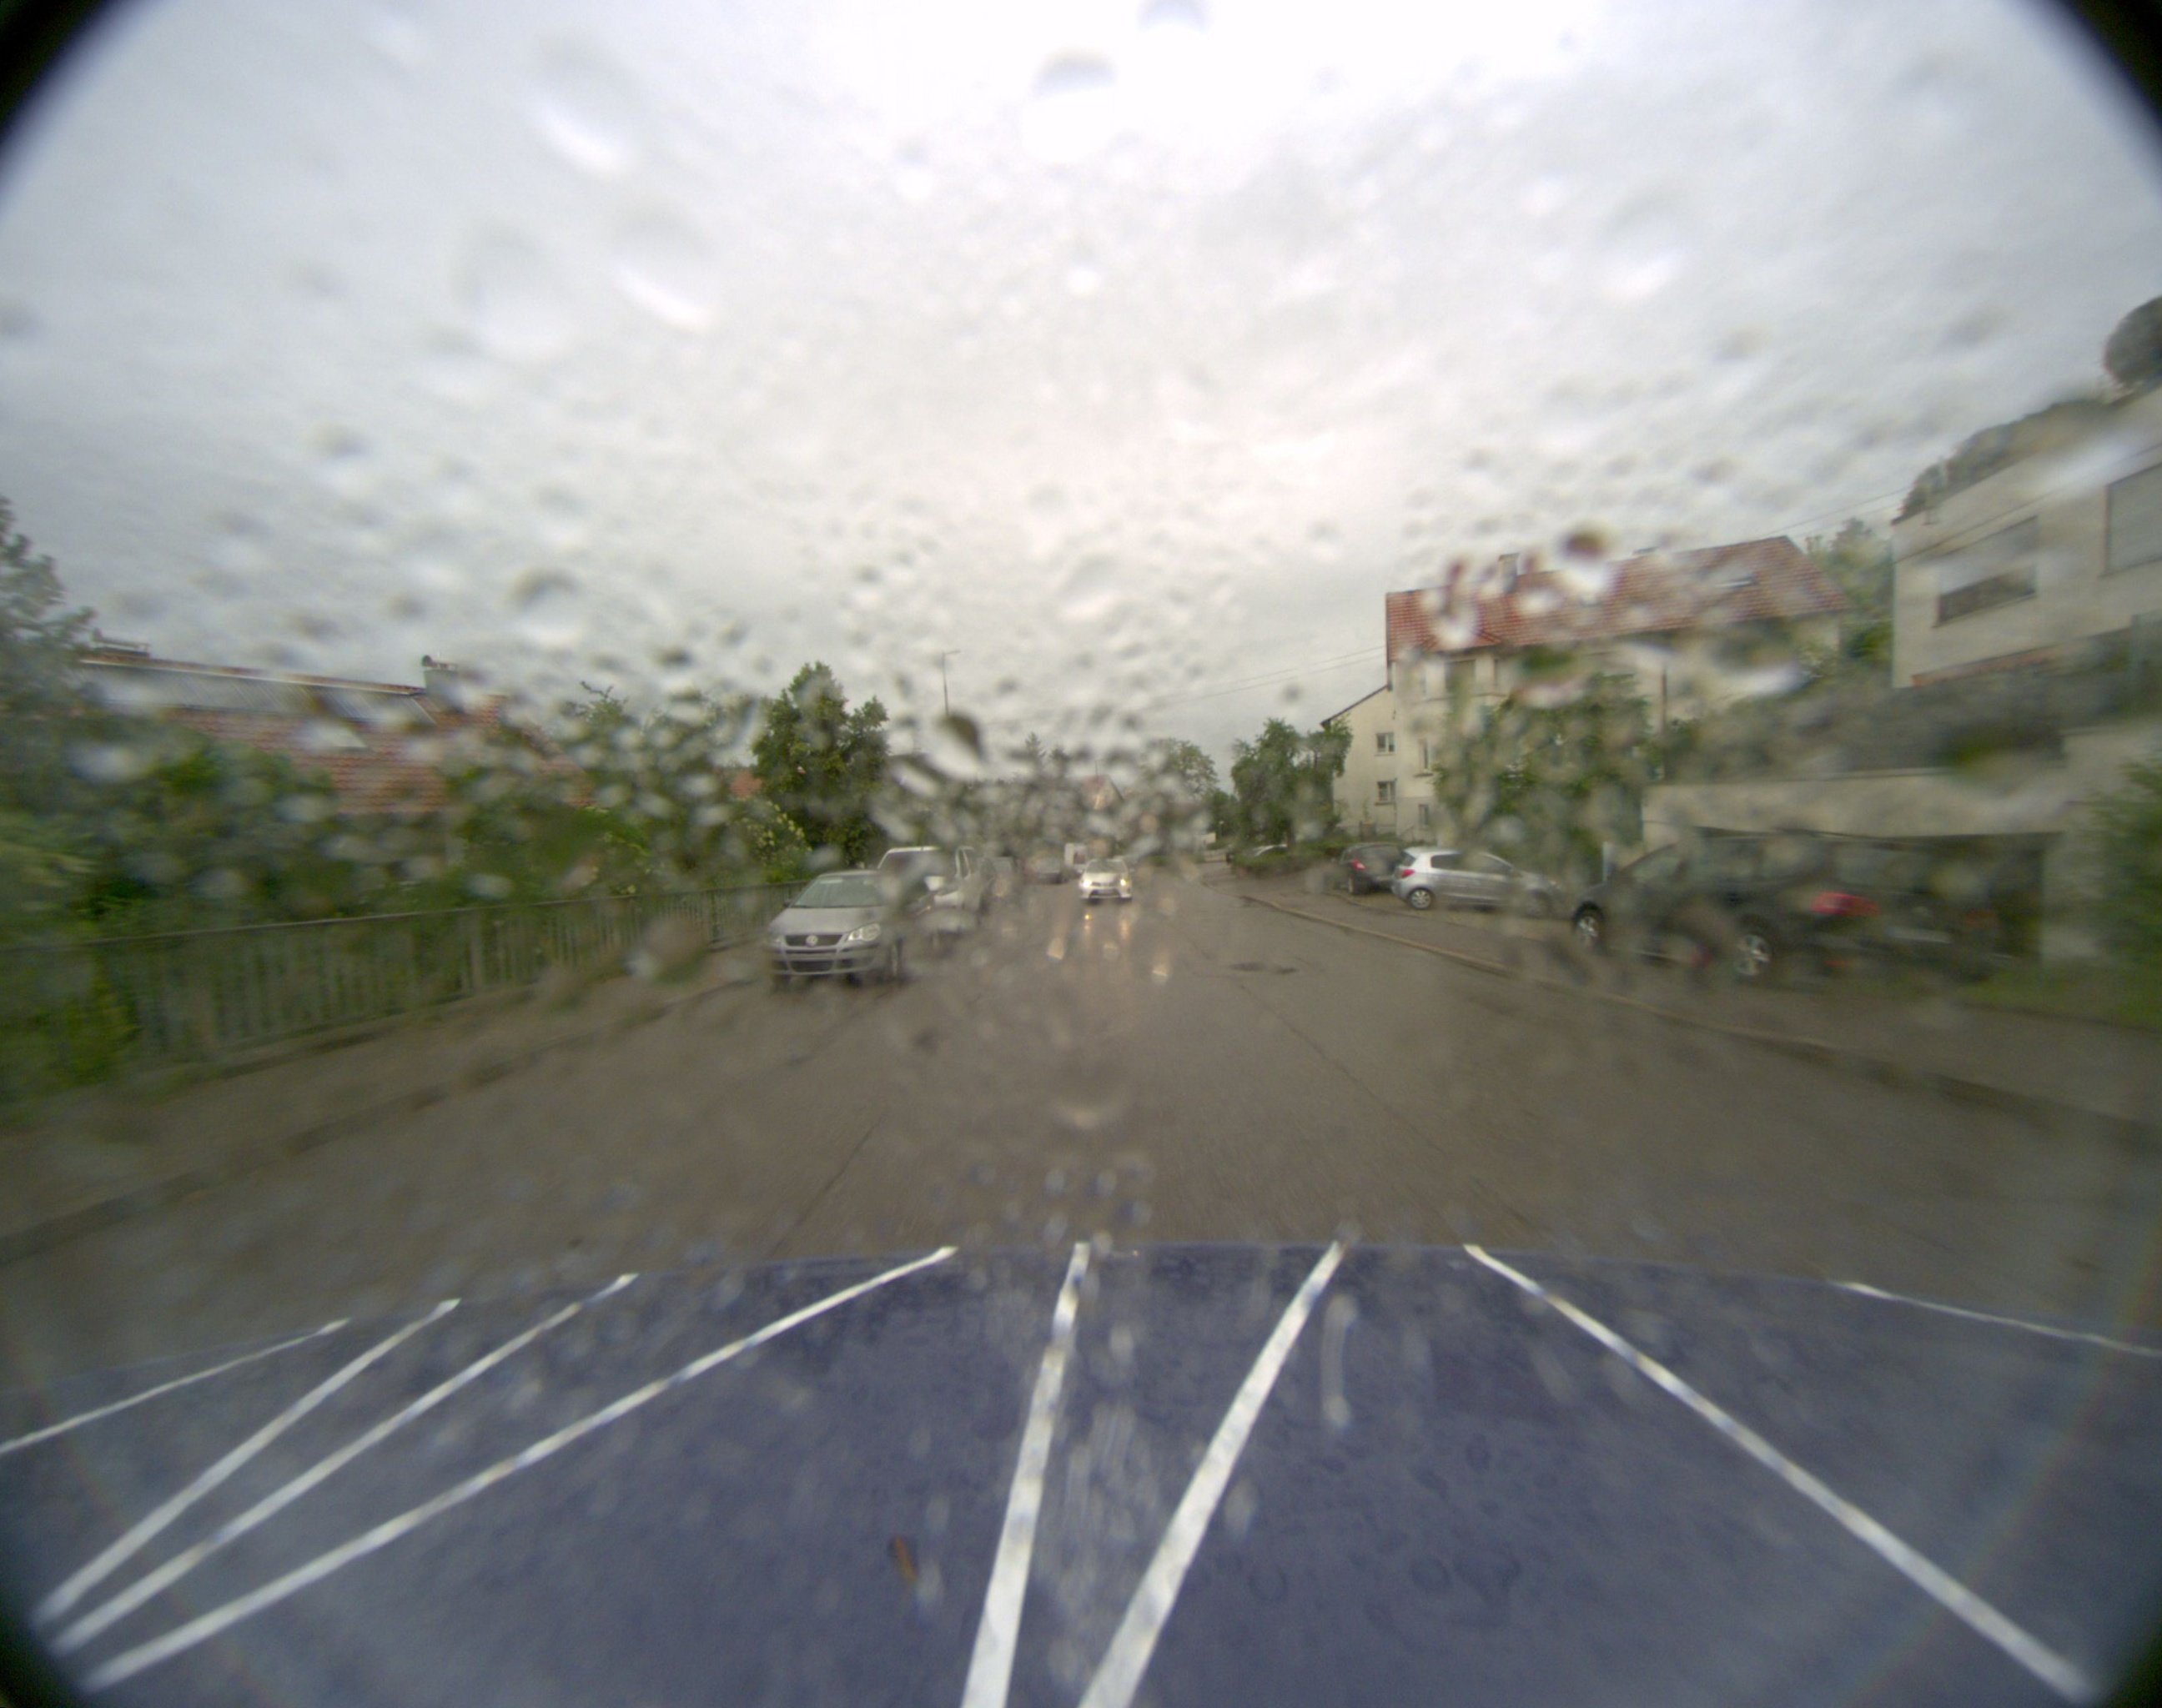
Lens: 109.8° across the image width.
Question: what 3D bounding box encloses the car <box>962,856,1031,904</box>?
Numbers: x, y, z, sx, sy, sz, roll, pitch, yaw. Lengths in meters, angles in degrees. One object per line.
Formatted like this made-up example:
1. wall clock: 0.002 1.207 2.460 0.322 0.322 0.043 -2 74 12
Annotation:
1. car: -3.007 0.895 27.896 1.820 1.498 4.724 -1 1 2

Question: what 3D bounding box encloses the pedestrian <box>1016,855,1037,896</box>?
1. pedestrian: -2.217 0.877 30.789 0.718 1.625 0.707 -2 1 2

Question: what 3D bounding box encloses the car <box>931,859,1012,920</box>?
1. car: -3.164 0.969 22.762 1.648 1.532 4.353 -1 1 2

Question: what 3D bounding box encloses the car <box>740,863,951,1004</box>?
1. car: -3.141 0.969 11.001 1.652 1.554 3.963 -1 1 2

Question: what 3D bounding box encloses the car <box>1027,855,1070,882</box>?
1. car: -1.828 0.807 44.728 1.796 1.451 4.790 -1 1 6

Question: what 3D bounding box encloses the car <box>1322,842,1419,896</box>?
1. car: 8.677 0.389 23.139 1.769 1.368 4.249 -5 0 8

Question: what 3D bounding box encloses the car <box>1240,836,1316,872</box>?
1. car: 12.239 -0.004 47.203 4.258 1.423 1.768 -11 -2 21

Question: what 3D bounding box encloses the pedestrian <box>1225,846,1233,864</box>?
1. pedestrian: 14.248 0.111 72.969 0.657 1.639 0.733 -2 -1 12

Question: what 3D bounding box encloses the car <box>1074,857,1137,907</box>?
1. car: 0.899 0.877 25.393 1.862 1.370 4.181 -3 1 4

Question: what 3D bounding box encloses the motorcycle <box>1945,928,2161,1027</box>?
1. motorcycle: 14.001 1.746 10.979 1.889 1.244 0.646 -1 1 25

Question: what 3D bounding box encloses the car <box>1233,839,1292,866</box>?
1. car: 14.977 -0.114 62.606 4.517 1.604 1.934 -8 -1 15

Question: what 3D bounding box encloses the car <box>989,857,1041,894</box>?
1. car: -2.827 0.899 33.292 1.739 1.406 3.852 -1 1 3

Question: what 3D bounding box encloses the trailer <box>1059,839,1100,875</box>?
1. trailer: -0.047 0.187 55.631 1.952 2.442 5.438 -1 1 11

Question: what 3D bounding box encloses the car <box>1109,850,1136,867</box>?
1. car: 3.926 0.395 70.753 1.635 1.448 3.705 -1 1 18

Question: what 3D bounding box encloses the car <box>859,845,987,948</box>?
1. car: -3.254 0.768 16.642 1.854 1.871 4.909 -1 1 -2

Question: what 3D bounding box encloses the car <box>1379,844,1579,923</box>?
1. car: 9.321 0.634 18.158 3.831 1.470 1.805 5 2 15

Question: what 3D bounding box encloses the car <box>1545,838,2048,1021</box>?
1. car: 7.708 0.648 8.961 1.807 1.588 4.417 -1 1 1
